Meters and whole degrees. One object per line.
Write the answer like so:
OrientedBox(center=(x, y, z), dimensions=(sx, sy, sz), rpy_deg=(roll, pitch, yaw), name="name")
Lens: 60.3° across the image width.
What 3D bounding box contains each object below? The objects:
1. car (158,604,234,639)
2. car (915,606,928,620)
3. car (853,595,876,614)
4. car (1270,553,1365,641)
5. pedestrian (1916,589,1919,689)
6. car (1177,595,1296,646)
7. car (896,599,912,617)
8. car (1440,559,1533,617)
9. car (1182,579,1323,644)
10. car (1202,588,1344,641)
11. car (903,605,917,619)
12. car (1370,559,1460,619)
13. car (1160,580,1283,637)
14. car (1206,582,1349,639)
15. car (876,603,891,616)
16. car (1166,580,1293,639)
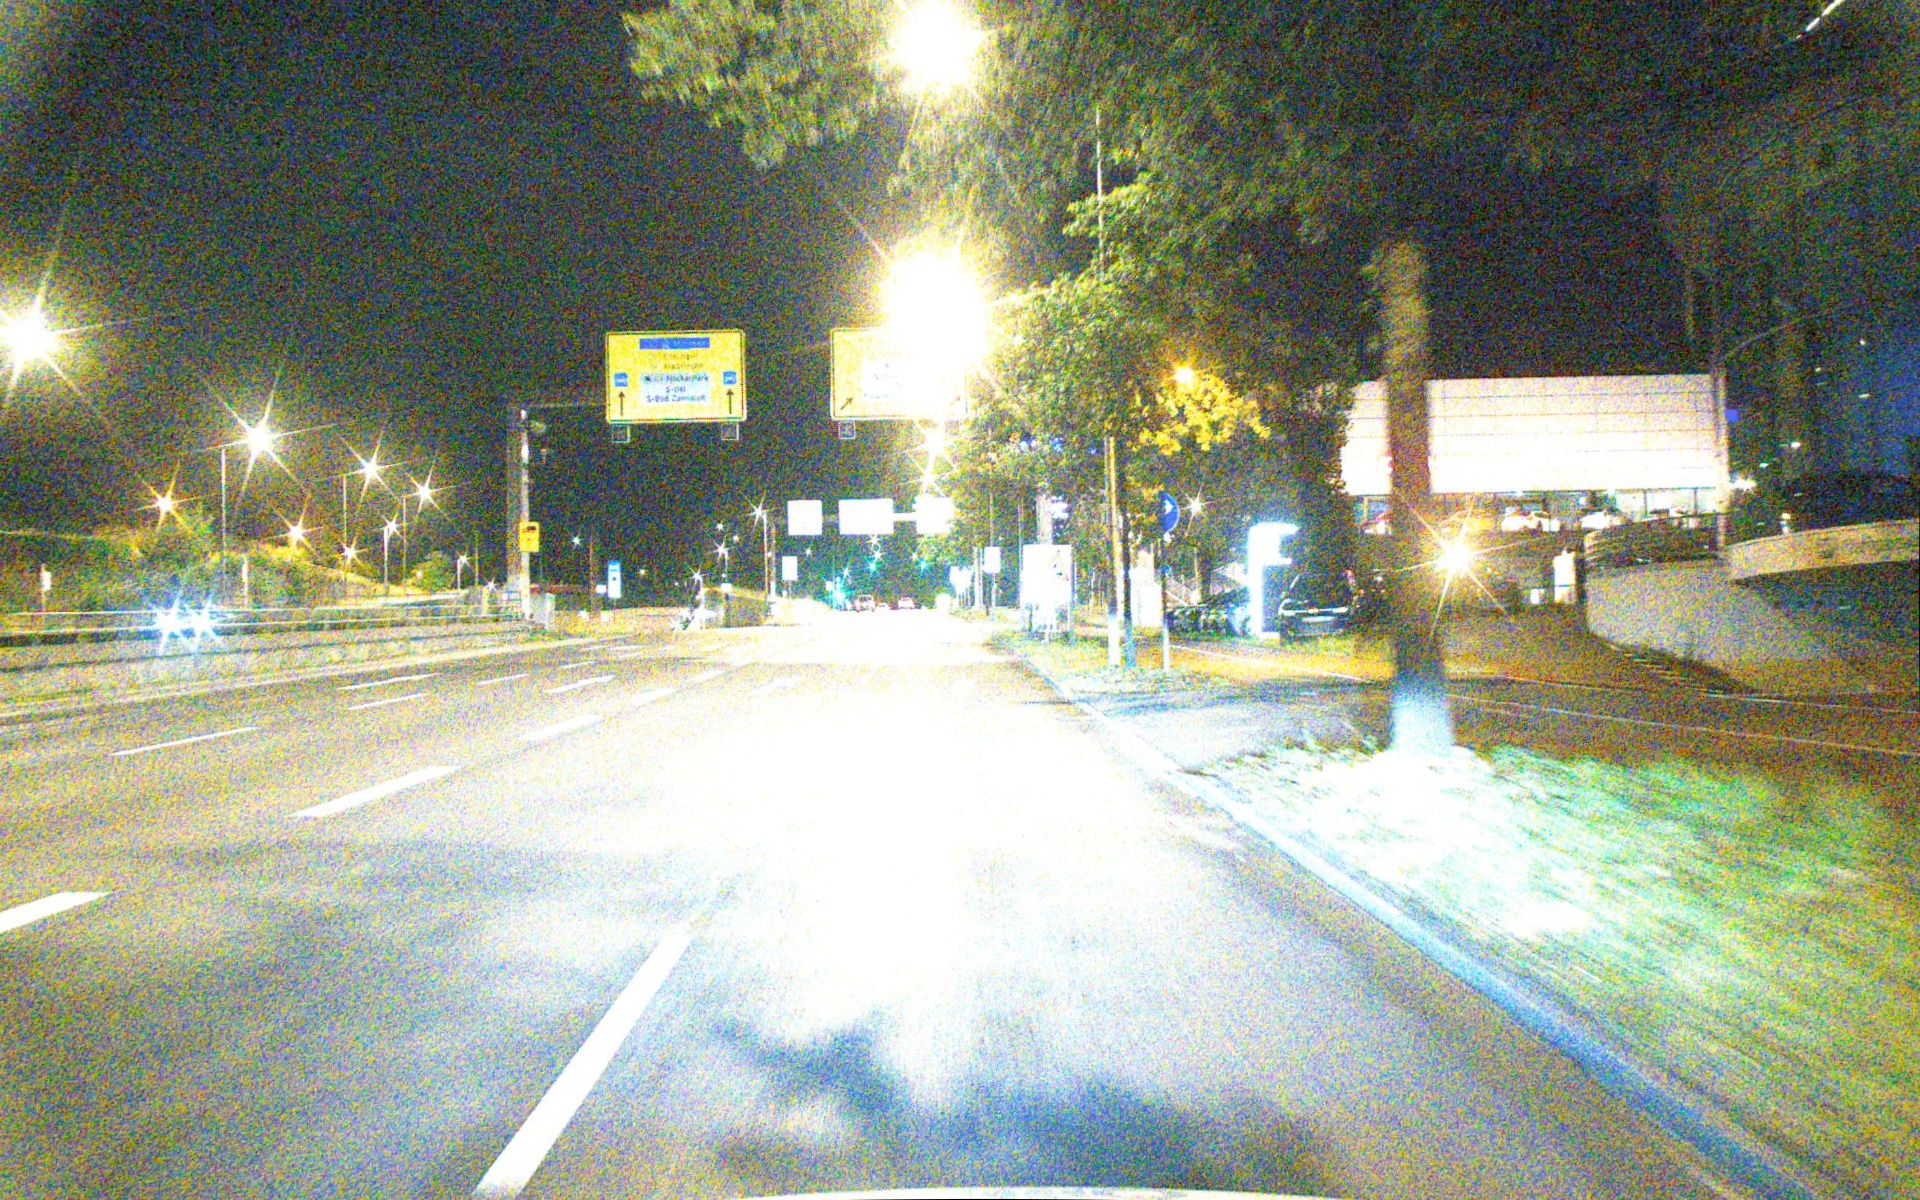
OrientedBox(center=(-33.570, 0.963, 72.776), dimensions=(1.592, 1.507, 3.678), rpy_deg=(1, -2, 0), name="car")
OrientedBox(center=(-5.409, 1.887, 234.507), dimensions=(1.800, 1.870, 3.998), rpy_deg=(1, -2, -1), name="car")
OrientedBox(center=(-9.357, 0.439, 162.137), dimensions=(1.927, 1.741, 4.000), rpy_deg=(1, -2, 1), name="car")
OrientedBox(center=(8.626, -0.031, 39.687), dimensions=(1.951, 1.979, 4.002), rpy_deg=(0, -2, 16), name="car")
OrientedBox(center=(10.714, 0.393, 17.480), dimensions=(0.897, 1.057, 0.767), rpy_deg=(-2, -1, 42), name="pedestrian")
OrientedBox(center=(8.838, 0.671, 52.964), dimensions=(3.441, 1.535, 1.734), rpy_deg=(1, -2, -5), name="car")
OrientedBox(center=(-6.796, 0.997, 201.404), dimensions=(1.953, 2.049, 3.998), rpy_deg=(1, -2, -1), name="car")
OrientedBox(center=(15.193, -0.307, 47.889), dimensions=(1.852, 1.538, 3.638), rpy_deg=(0, -2, 6), name="car")
OrientedBox(center=(8.902, 0.370, 50.494), dimensions=(3.909, 1.889, 1.820), rpy_deg=(1, -2, -5), name="car")
OrientedBox(center=(9.016, 0.437, 47.839), dimensions=(3.749, 1.435, 1.709), rpy_deg=(1, -2, -4), name="car")
OrientedBox(center=(-6.540, 1.611, 216.266), dimensions=(1.745, 1.758, 3.998), rpy_deg=(1, -2, -1), name="car")
OrientedBox(center=(12.746, -0.272, 46.501), dimensions=(1.852, 1.538, 3.638), rpy_deg=(0, -2, 6), name="car")
OrientedBox(center=(9.081, 0.329, 57.522), dimensions=(3.909, 1.889, 1.820), rpy_deg=(1, -2, -5), name="car")
OrientedBox(center=(8.712, 0.305, 45.537), dimensions=(3.553, 1.477, 1.706), rpy_deg=(1, -2, -5), name="car")
OrientedBox(center=(-10.529, 1.289, 227.919), dimensions=(1.953, 1.624, 3.999), rpy_deg=(-1, -2, -1), name="car")
OrientedBox(center=(9.005, 0.336, 55.436), dimensions=(3.909, 1.889, 1.820), rpy_deg=(1, -2, -5), name="car")
